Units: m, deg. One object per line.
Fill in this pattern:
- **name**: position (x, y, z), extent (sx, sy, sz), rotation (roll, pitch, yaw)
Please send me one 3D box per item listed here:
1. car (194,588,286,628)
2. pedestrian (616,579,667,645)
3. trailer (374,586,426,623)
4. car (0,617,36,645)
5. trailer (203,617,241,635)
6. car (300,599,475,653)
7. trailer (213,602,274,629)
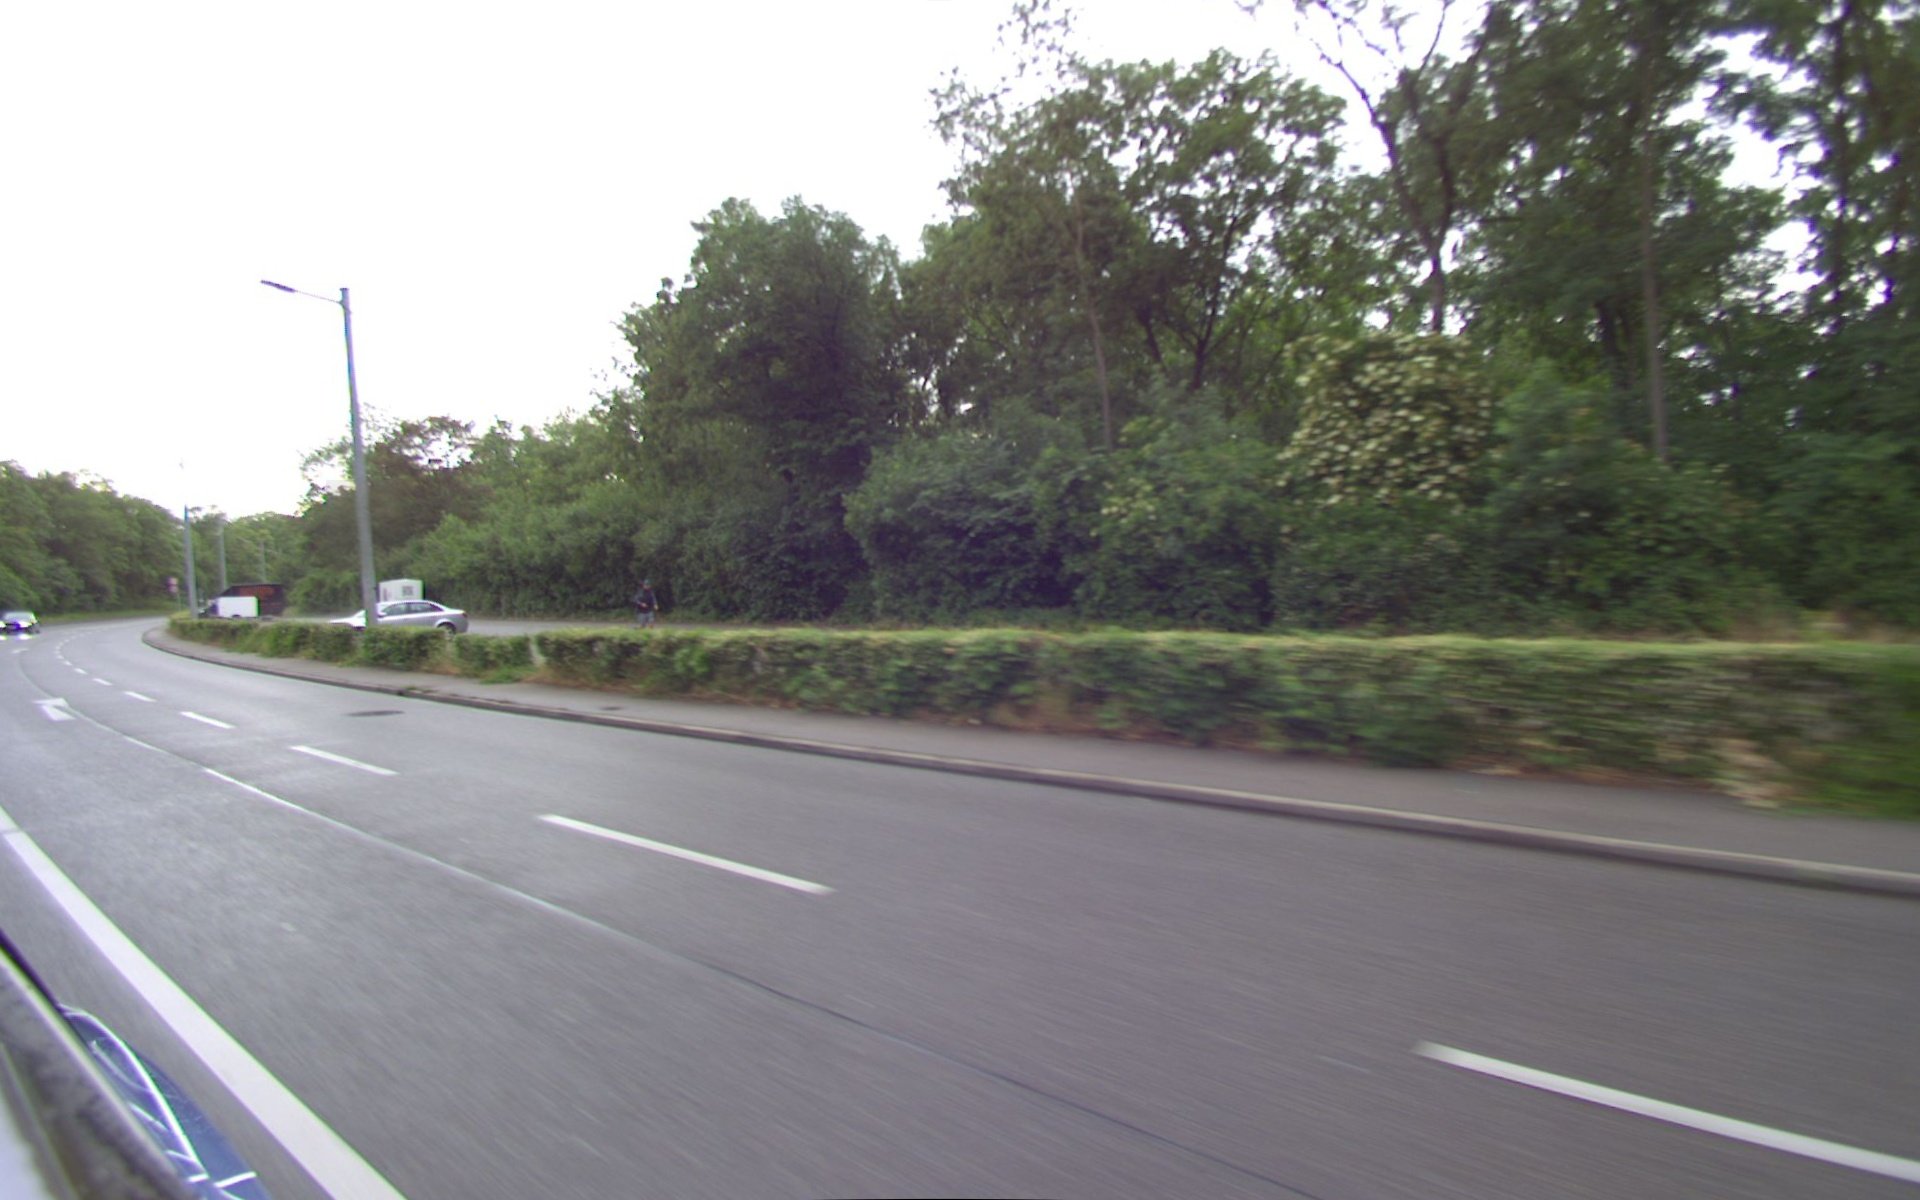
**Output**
- **car**: position (-60.865, 0.655, 85.592), extent (6.192, 3.136, 2.757), rotation (-2, 2, -38)
- **pedestrian**: position (-8.915, 0.324, 28.310), extent (1.134, 1.811, 0.809), rotation (-1, 0, 38)
- **trailer**: position (-45.971, 0.352, 82.942), extent (2.444, 2.895, 7.993), rotation (-1, 0, -38)
- **car**: position (-61.886, 1.977, 66.013), extent (1.967, 1.696, 4.009), rotation (-1, 1, -36)
- **trailer**: position (-46.447, 1.607, 63.708), extent (1.779, 1.042, 1.336), rotation (-2, 1, -42)
- **car**: position (-18.493, 0.796, 32.850), extent (1.998, 1.517, 4.530), rotation (-1, 1, 40)
- **trailer**: position (-57.519, 1.229, 81.274), extent (3.934, 2.068, 1.877), rotation (-1, 0, -35)
